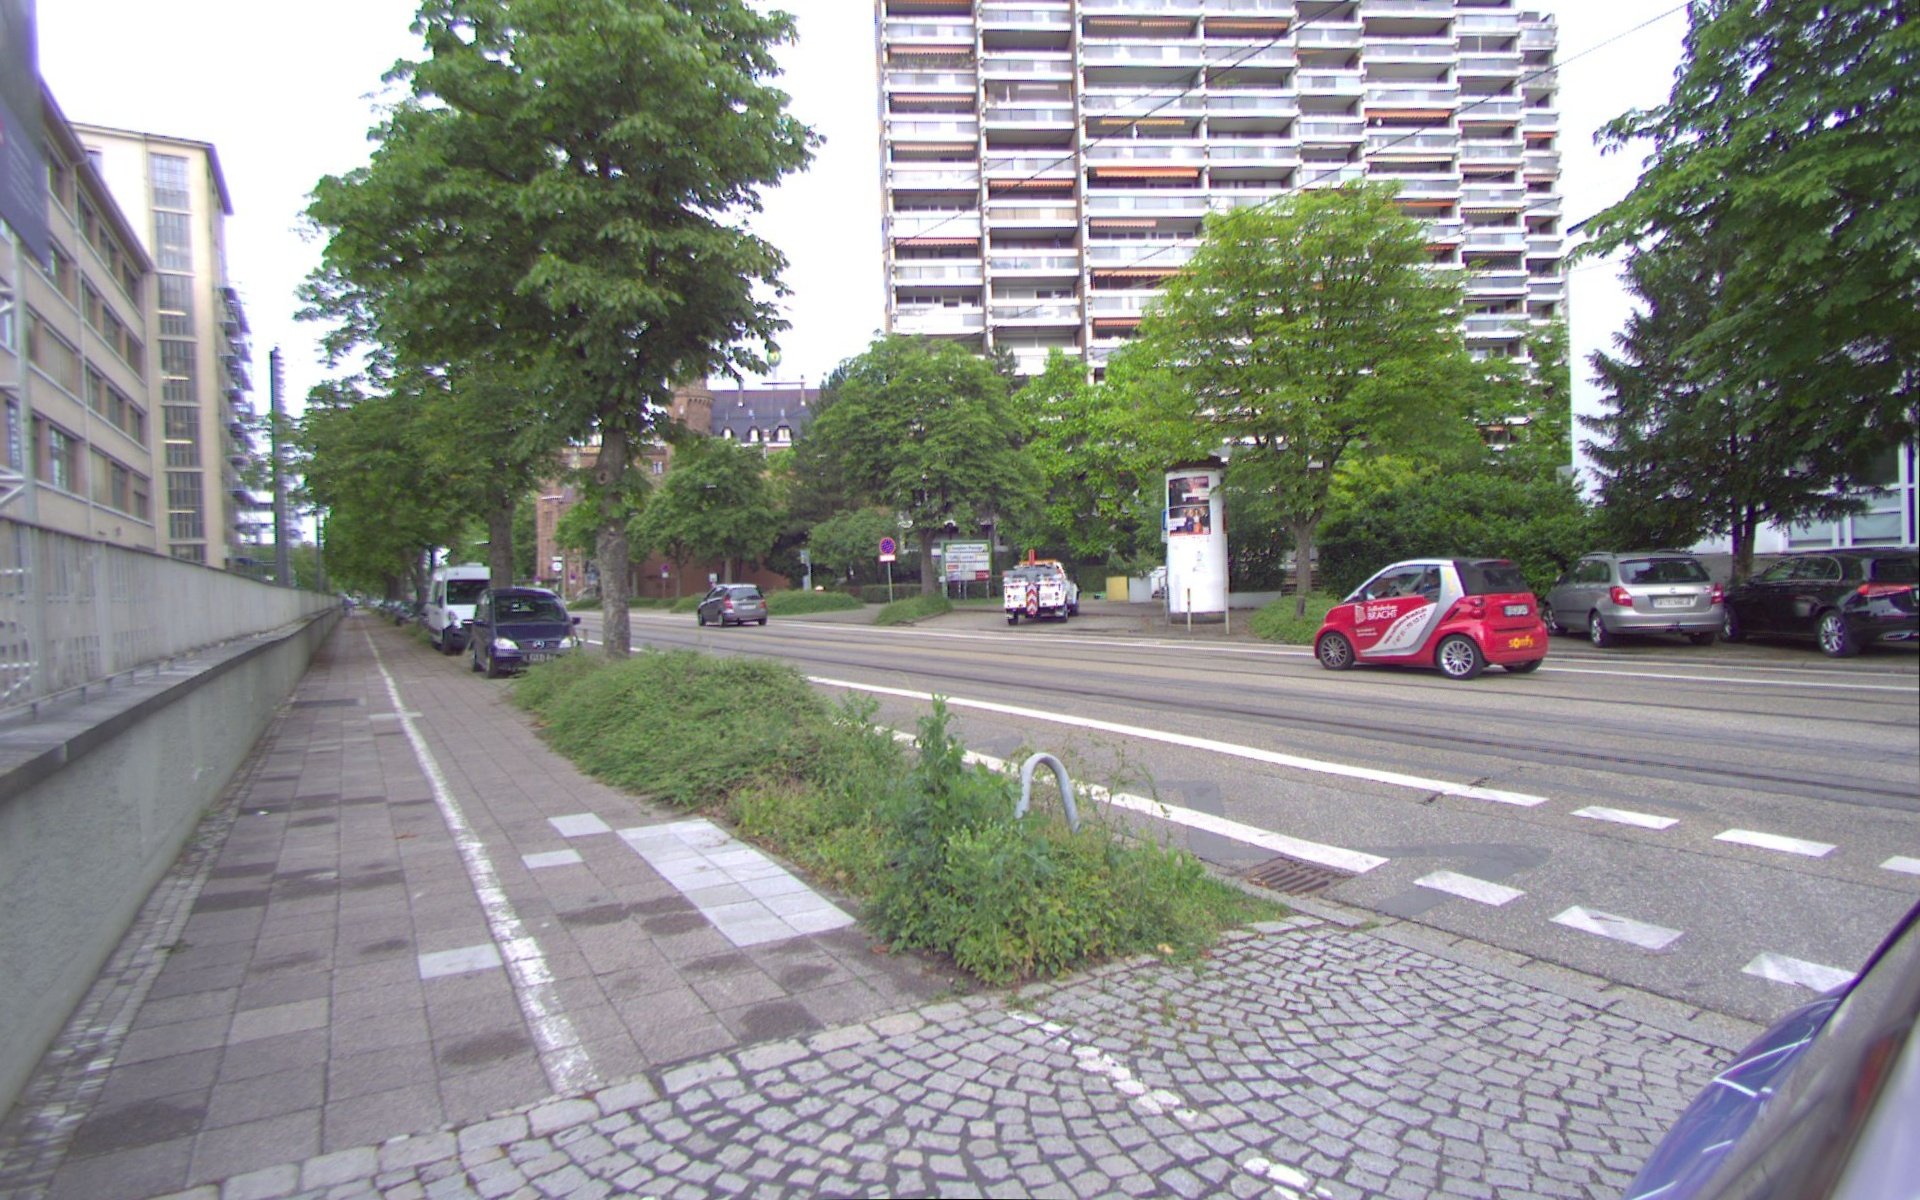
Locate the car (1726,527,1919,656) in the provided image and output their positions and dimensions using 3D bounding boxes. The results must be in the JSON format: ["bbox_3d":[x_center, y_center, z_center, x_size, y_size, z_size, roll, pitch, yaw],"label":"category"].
[{"bbox_3d":[12.684,-0.201,14.227,1.675,1.542,3.692,-3,2,14],"label":"car"}]

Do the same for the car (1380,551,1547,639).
[{"bbox_3d":[9.766,-0.183,20.016,1.775,1.482,4.420,-2,2,11],"label":"car"}]

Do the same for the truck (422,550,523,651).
[{"bbox_3d":[-14.189,-0.014,29.263,2.078,2.635,5.496,-2,1,-31],"label":"truck"}]

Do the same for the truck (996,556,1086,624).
[{"bbox_3d":[2.653,-0.385,31.904,1.970,1.871,5.045,-2,2,14],"label":"truck"}]

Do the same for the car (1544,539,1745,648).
[{"bbox_3d":[11.220,-0.174,16.869,1.550,1.542,3.637,-3,2,14],"label":"car"}]

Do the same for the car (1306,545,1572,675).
[{"bbox_3d":[6.342,0.082,13.604,1.649,1.541,2.784,-1,1,-31],"label":"car"}]

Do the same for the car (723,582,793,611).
[{"bbox_3d":[-11.229,-0.221,56.308,1.630,1.393,3.449,0,3,45],"label":"car"}]

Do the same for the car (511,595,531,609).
[{"bbox_3d":[-51.190,0.177,117.993,1.958,1.549,4.008,-2,1,-22],"label":"car"}]

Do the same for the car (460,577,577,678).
[{"bbox_3d":[-9.061,0.476,20.619,1.626,1.835,4.087,0,1,-32],"label":"car"}]

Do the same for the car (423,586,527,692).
[{"bbox_3d":[-14.020,1.004,29.082,2.078,2.634,5.496,-4,2,-31],"label":"car"}]
